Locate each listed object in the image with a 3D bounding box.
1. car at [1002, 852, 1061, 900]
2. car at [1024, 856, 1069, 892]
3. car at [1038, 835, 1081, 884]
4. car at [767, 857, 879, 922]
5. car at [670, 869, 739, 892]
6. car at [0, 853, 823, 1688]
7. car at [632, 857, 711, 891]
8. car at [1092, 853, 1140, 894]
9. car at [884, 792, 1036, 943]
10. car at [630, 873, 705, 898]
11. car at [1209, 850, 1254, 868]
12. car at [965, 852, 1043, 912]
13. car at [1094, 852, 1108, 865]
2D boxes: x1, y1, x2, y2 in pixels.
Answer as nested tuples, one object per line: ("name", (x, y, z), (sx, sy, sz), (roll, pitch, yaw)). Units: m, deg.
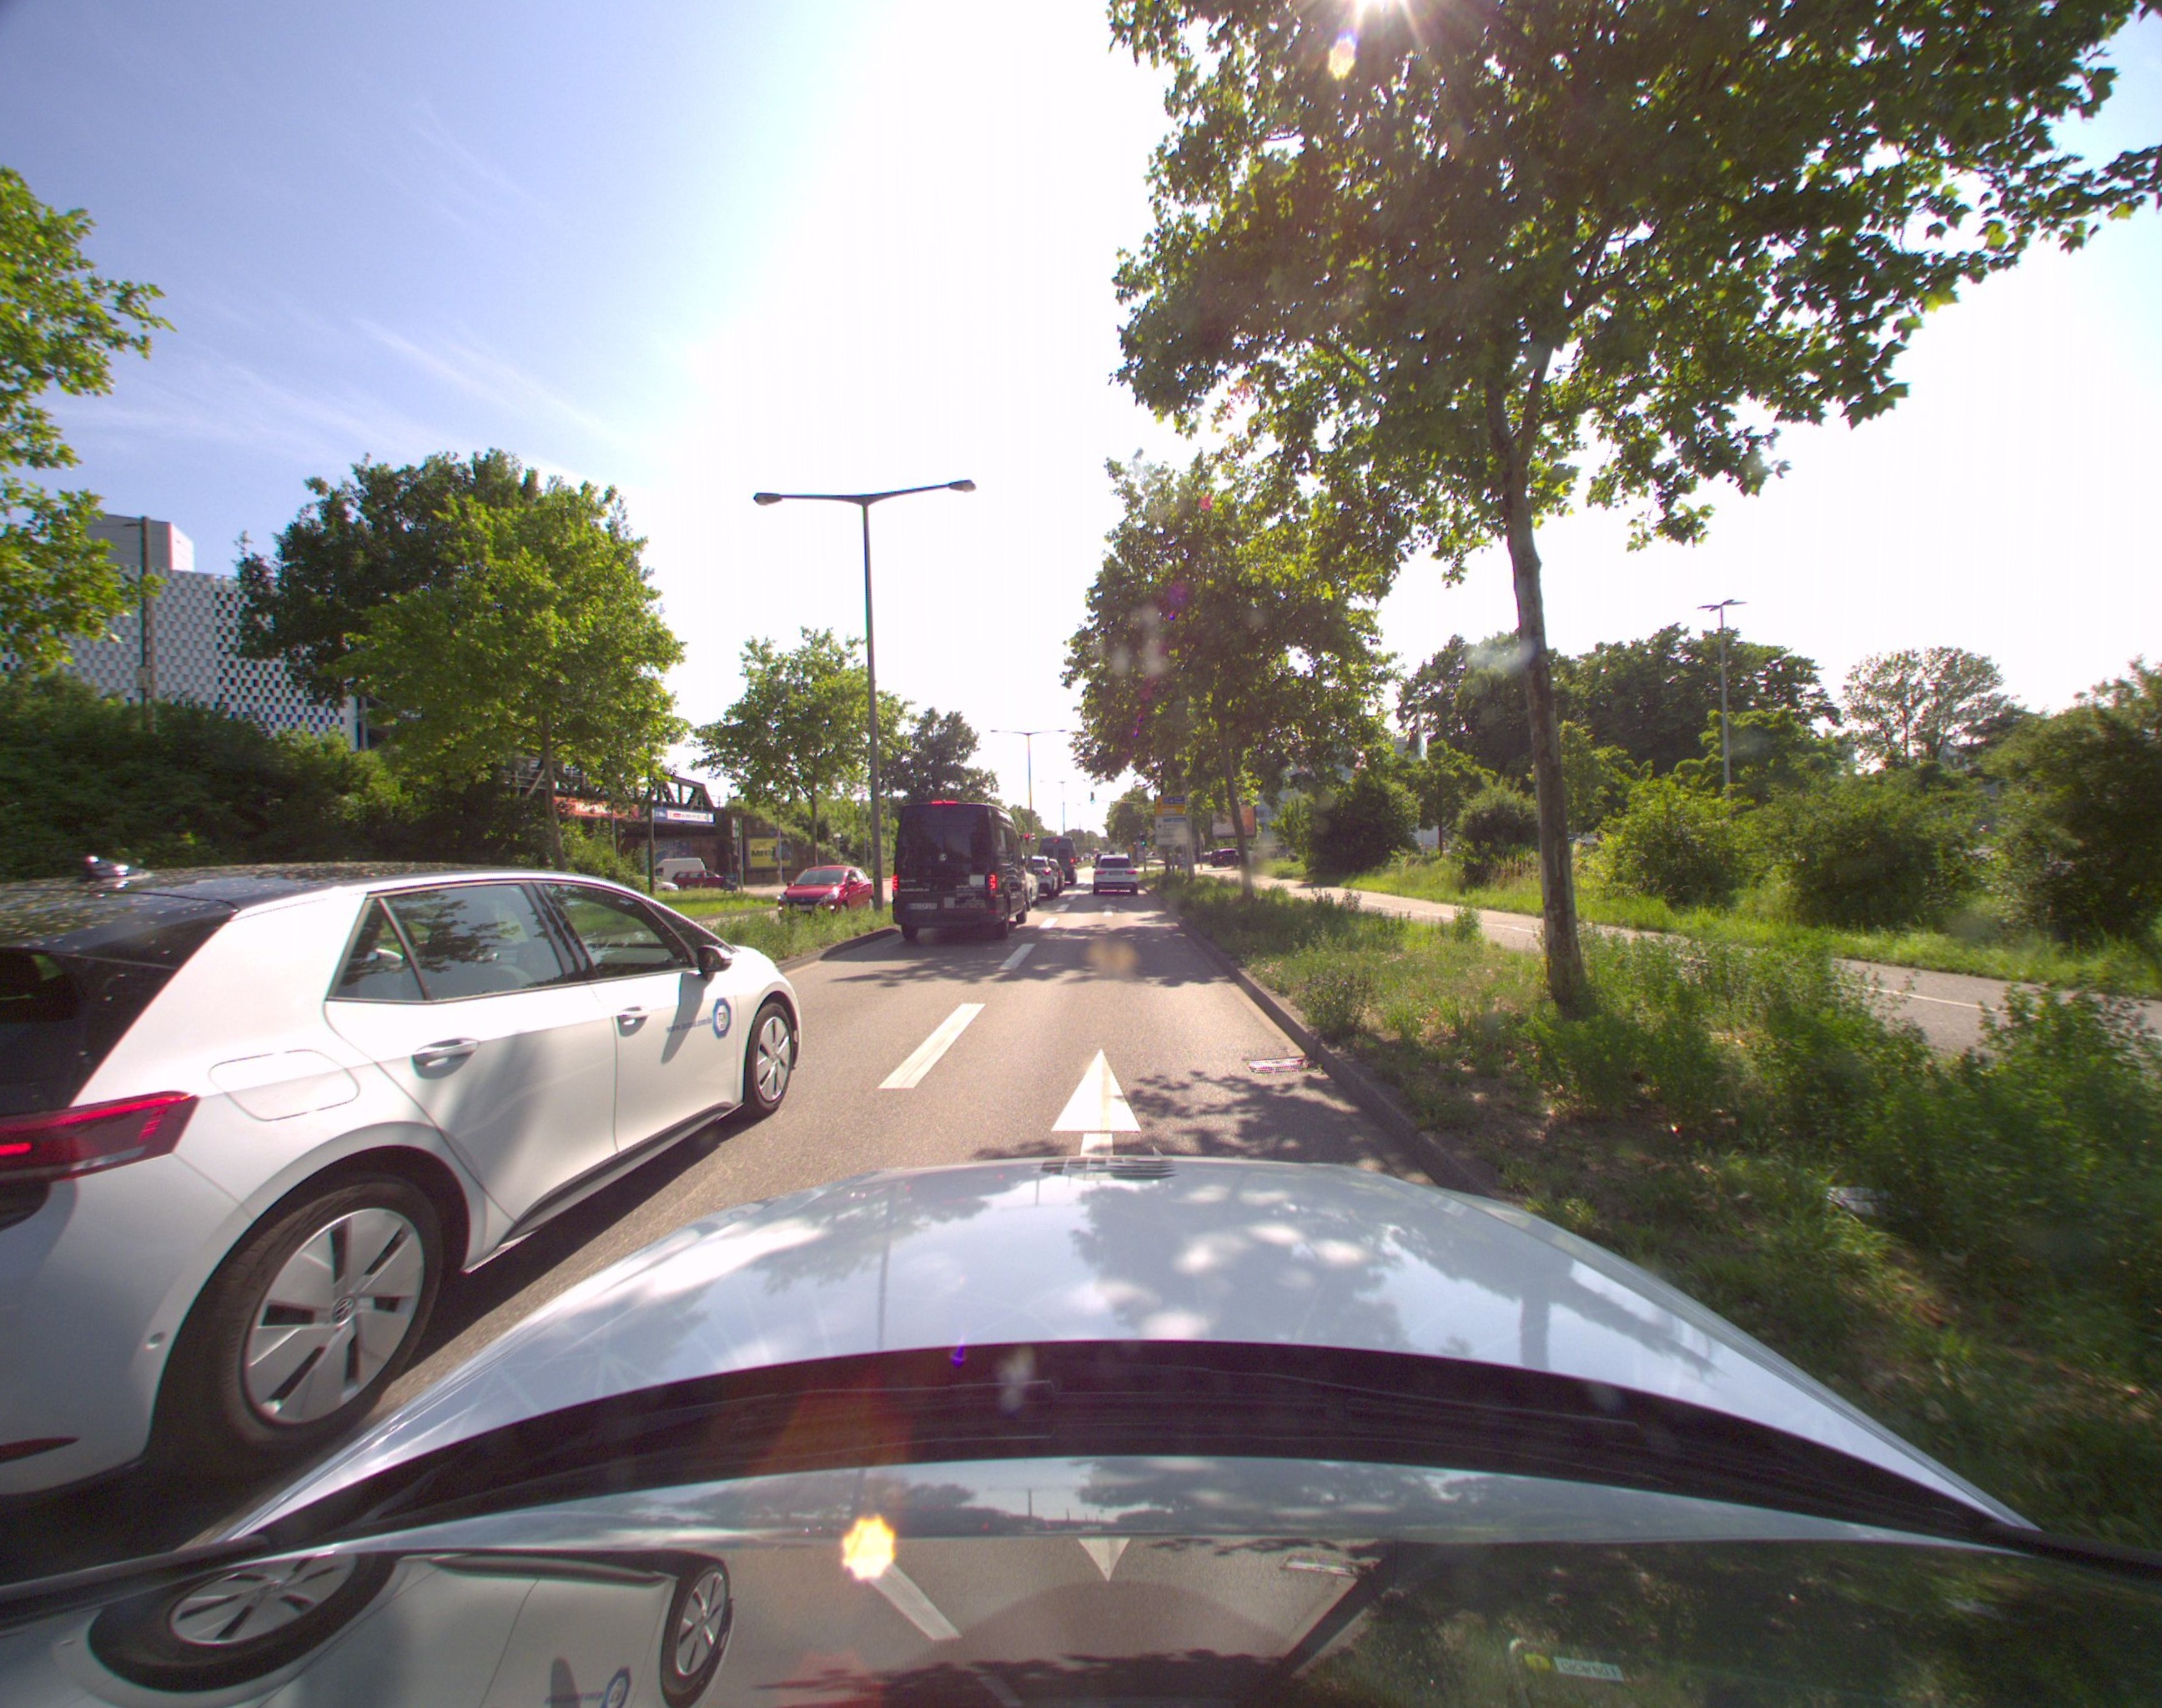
("car", (-1.782, 0.794, 30.674), (1.764, 1.647, 4.087), (-1, -1, 3))
("car", (-1.492, 0.858, 36.540), (1.684, 1.505, 3.888), (0, 0, 2))
("car", (-1.175, 0.314, 46.714), (2.073, 2.656, 4.877), (0, -1, 3))
("car", (-6.959, 0.900, 22.437), (1.849, 1.583, 4.172), (-1, 0, -2))
("car", (-27.121, 1.886, 58.717), (4.347, 1.426, 1.471), (-2, 0, -33))
("car", (-2.801, 0.782, 3.583), (1.812, 1.521, 4.211), (-1, 0, 2))
("car", (-31.106, 1.495, 61.939), (5.158, 2.418, 1.979), (-1, 0, -33))
("car", (1.425, 0.764, 34.454), (1.848, 1.607, 3.999), (0, 0, 0))
("car", (-2.294, 0.259, 17.328), (2.008, 2.607, 6.172), (-1, -1, 3))
("car", (-25.632, 1.929, 50.506), (4.013, 1.345, 1.864), (-2, 0, -31))
("car", (14.048, 0.473, 76.131), (3.793, 1.684, 1.682), (0, -1, -17))
("car", (-2.251, 0.800, 24.928), (1.764, 1.647, 4.355), (-1, -1, 3))
("car", (2.236, 0.509, 90.290), (1.458, 1.404, 3.478), (-1, 0, 2))
